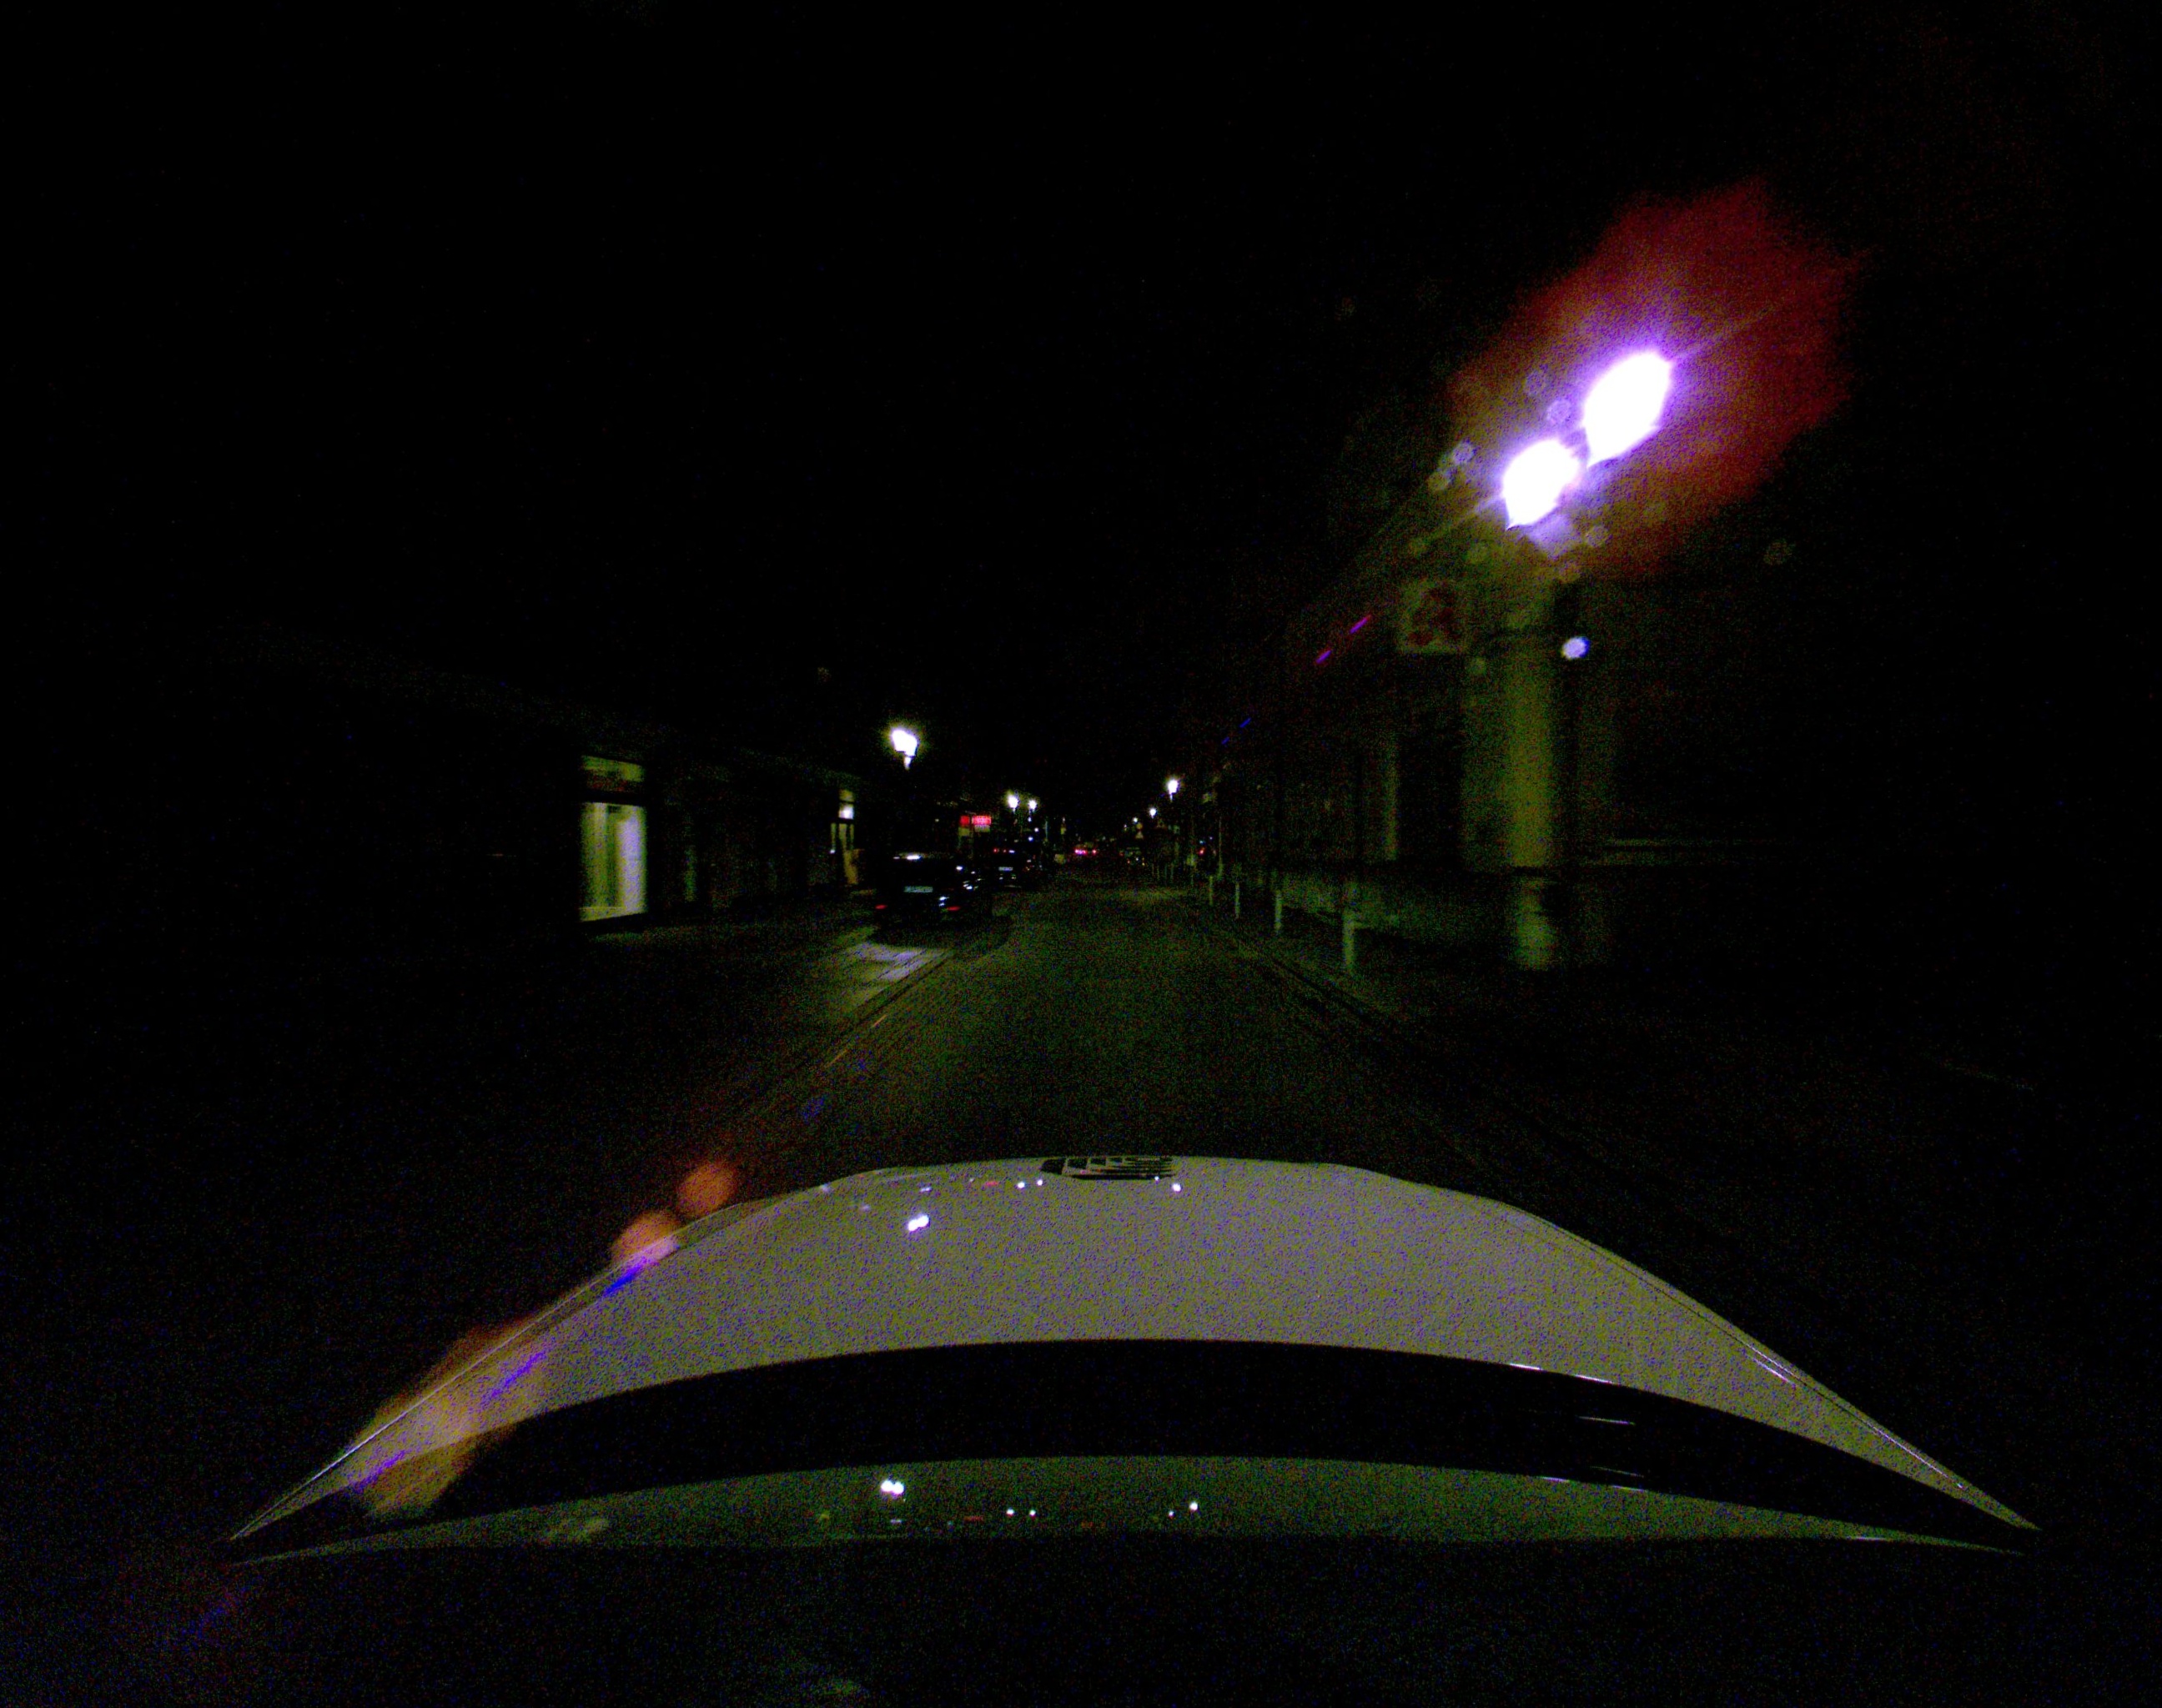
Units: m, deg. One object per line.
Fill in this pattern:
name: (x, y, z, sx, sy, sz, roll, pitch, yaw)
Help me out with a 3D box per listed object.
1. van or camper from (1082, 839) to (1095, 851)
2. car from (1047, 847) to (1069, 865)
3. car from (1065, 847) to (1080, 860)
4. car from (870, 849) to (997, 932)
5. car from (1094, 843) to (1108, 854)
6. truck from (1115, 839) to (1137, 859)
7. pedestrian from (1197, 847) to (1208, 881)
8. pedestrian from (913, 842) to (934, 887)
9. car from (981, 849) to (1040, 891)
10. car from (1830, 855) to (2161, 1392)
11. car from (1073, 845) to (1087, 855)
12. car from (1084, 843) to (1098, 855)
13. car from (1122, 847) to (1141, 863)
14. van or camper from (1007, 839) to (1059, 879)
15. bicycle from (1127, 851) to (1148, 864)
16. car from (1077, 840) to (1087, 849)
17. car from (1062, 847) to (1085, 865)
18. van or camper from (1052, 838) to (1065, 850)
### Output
van or camper: (1.496, -1.718, 160.086, 2.106, 2.317, 4.254, -2, 1, -6)
car: (-1.908, 0.167, 69.367, 1.723, 1.476, 3.846, 0, 1, 0)
car: (-1.106, -0.068, 103.009, 1.671, 1.543, 4.223, 0, 1, -5)
car: (-2.870, 0.640, 16.760, 1.791, 1.478, 4.321, 1, 0, 0)
car: (3.319, -0.883, 133.940, 1.812, 1.828, 4.339, -1, 1, -5)
truck: (5.395, -0.654, 98.271, 2.328, 2.312, 5.781, -1, 1, 0)
pedestrian: (5.658, 0.447, 37.846, 0.498, 1.547, 0.481, 0, 0, 7)
pedestrian: (-6.112, 0.394, 31.660, 0.619, 1.745, 1.023, 0, 0, 1)
car: (-2.590, 0.559, 31.004, 1.710, 1.412, 4.387, 1, 1, 2)
car: (3.607, 0.724, 1.066, 1.653, 1.377, 4.109, -2, 0, 4)
car: (-0.232, -0.663, 134.346, 1.990, 1.702, 3.995, -1, 1, -4)
car: (1.443, -0.745, 119.341, 1.988, 1.823, 3.997, -1, 1, -2)
car: (5.102, 0.064, 82.913, 1.782, 1.491, 4.061, -2, 1, 2)
van or camper: (-2.452, 0.217, 43.013, 1.836, 1.941, 5.163, 0, 1, 6)
bicycle: (4.948, 0.313, 71.438, 1.750, 1.062, 0.346, -1, 0, -2)
car: (0.214, -2.134, 179.116, 1.836, 1.901, 3.840, -1, 1, -4)
car: (-0.665, 0.153, 74.881, 2.013, 1.488, 5.008, 2, 1, 0)
van or camper: (-3.922, -1.653, 140.962, 1.864, 2.011, 4.254, 1, 1, -6)
